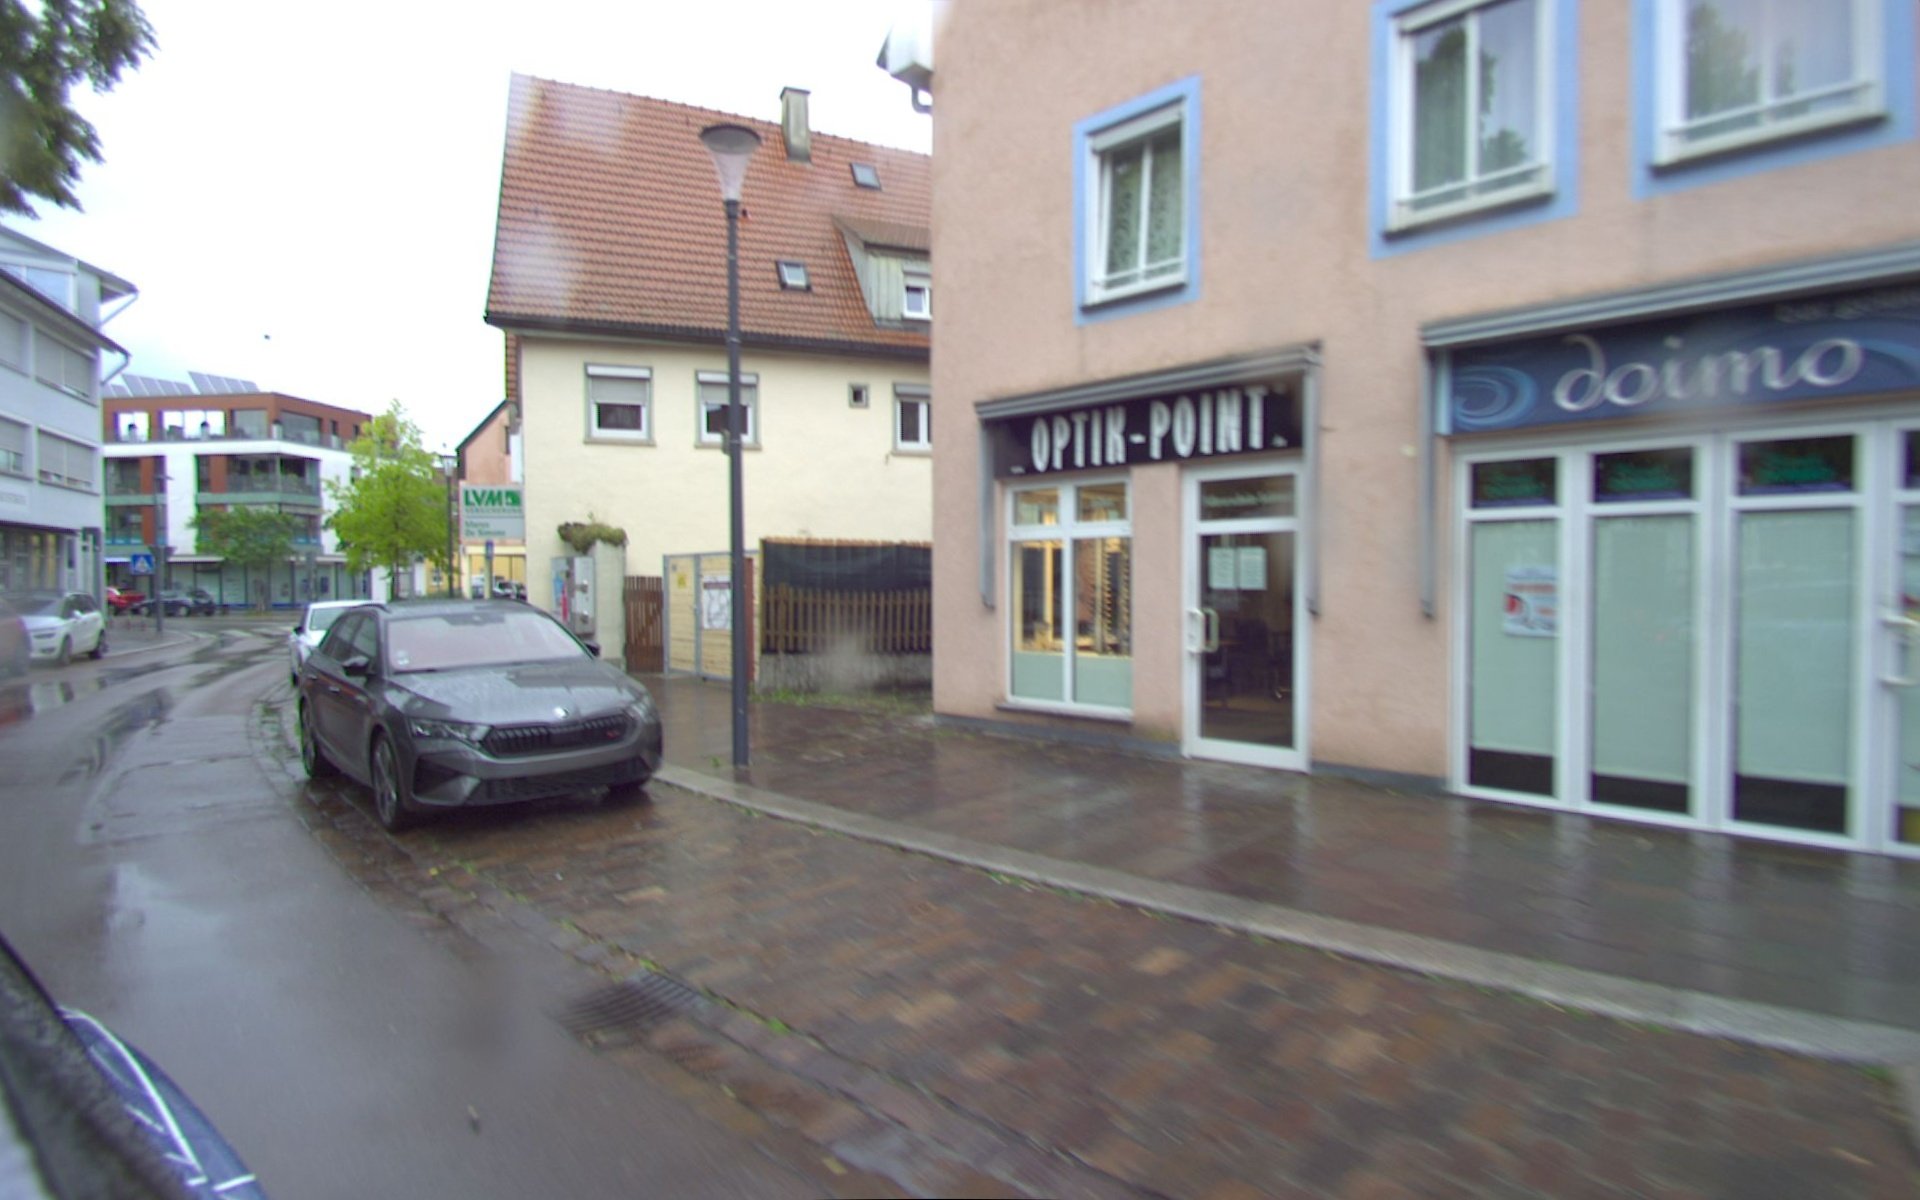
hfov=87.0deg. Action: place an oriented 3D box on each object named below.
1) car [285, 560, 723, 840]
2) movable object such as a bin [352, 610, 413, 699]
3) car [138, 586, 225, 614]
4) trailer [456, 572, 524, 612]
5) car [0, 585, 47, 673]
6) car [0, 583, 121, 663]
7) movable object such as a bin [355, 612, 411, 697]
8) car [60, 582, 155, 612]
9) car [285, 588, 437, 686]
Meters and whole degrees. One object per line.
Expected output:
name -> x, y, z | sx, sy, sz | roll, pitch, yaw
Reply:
car -> -3.795, 0.553, 7.940 | 1.853, 1.552, 4.406 | -3, 1, -42
movable object such as a bin -> -7.837, 0.723, 13.752 | 0.690, 1.152, 0.721 | -1, 0, -29
car -> -41.973, -0.014, 54.587 | 3.543, 1.446, 1.676 | 1, 2, 7
trailer -> -27.361, -0.462, 59.016 | 3.049, 2.103, 1.837 | -3, 0, -1
car -> -17.714, 0.532, 17.580 | 1.762, 1.479, 3.963 | -1, 2, -27
car -> -20.393, 0.446, 22.493 | 1.762, 1.611, 4.454 | -1, 1, -28
movable object such as a bin -> -8.216, 0.760, 14.433 | 0.672, 1.144, 0.721 | -1, 1, -29
car -> -46.635, -0.180, 55.378 | 3.874, 1.566, 1.800 | 0, 2, 7
car -> -10.470, 0.579, 17.556 | 1.825, 1.463, 4.082 | -1, 0, -37
